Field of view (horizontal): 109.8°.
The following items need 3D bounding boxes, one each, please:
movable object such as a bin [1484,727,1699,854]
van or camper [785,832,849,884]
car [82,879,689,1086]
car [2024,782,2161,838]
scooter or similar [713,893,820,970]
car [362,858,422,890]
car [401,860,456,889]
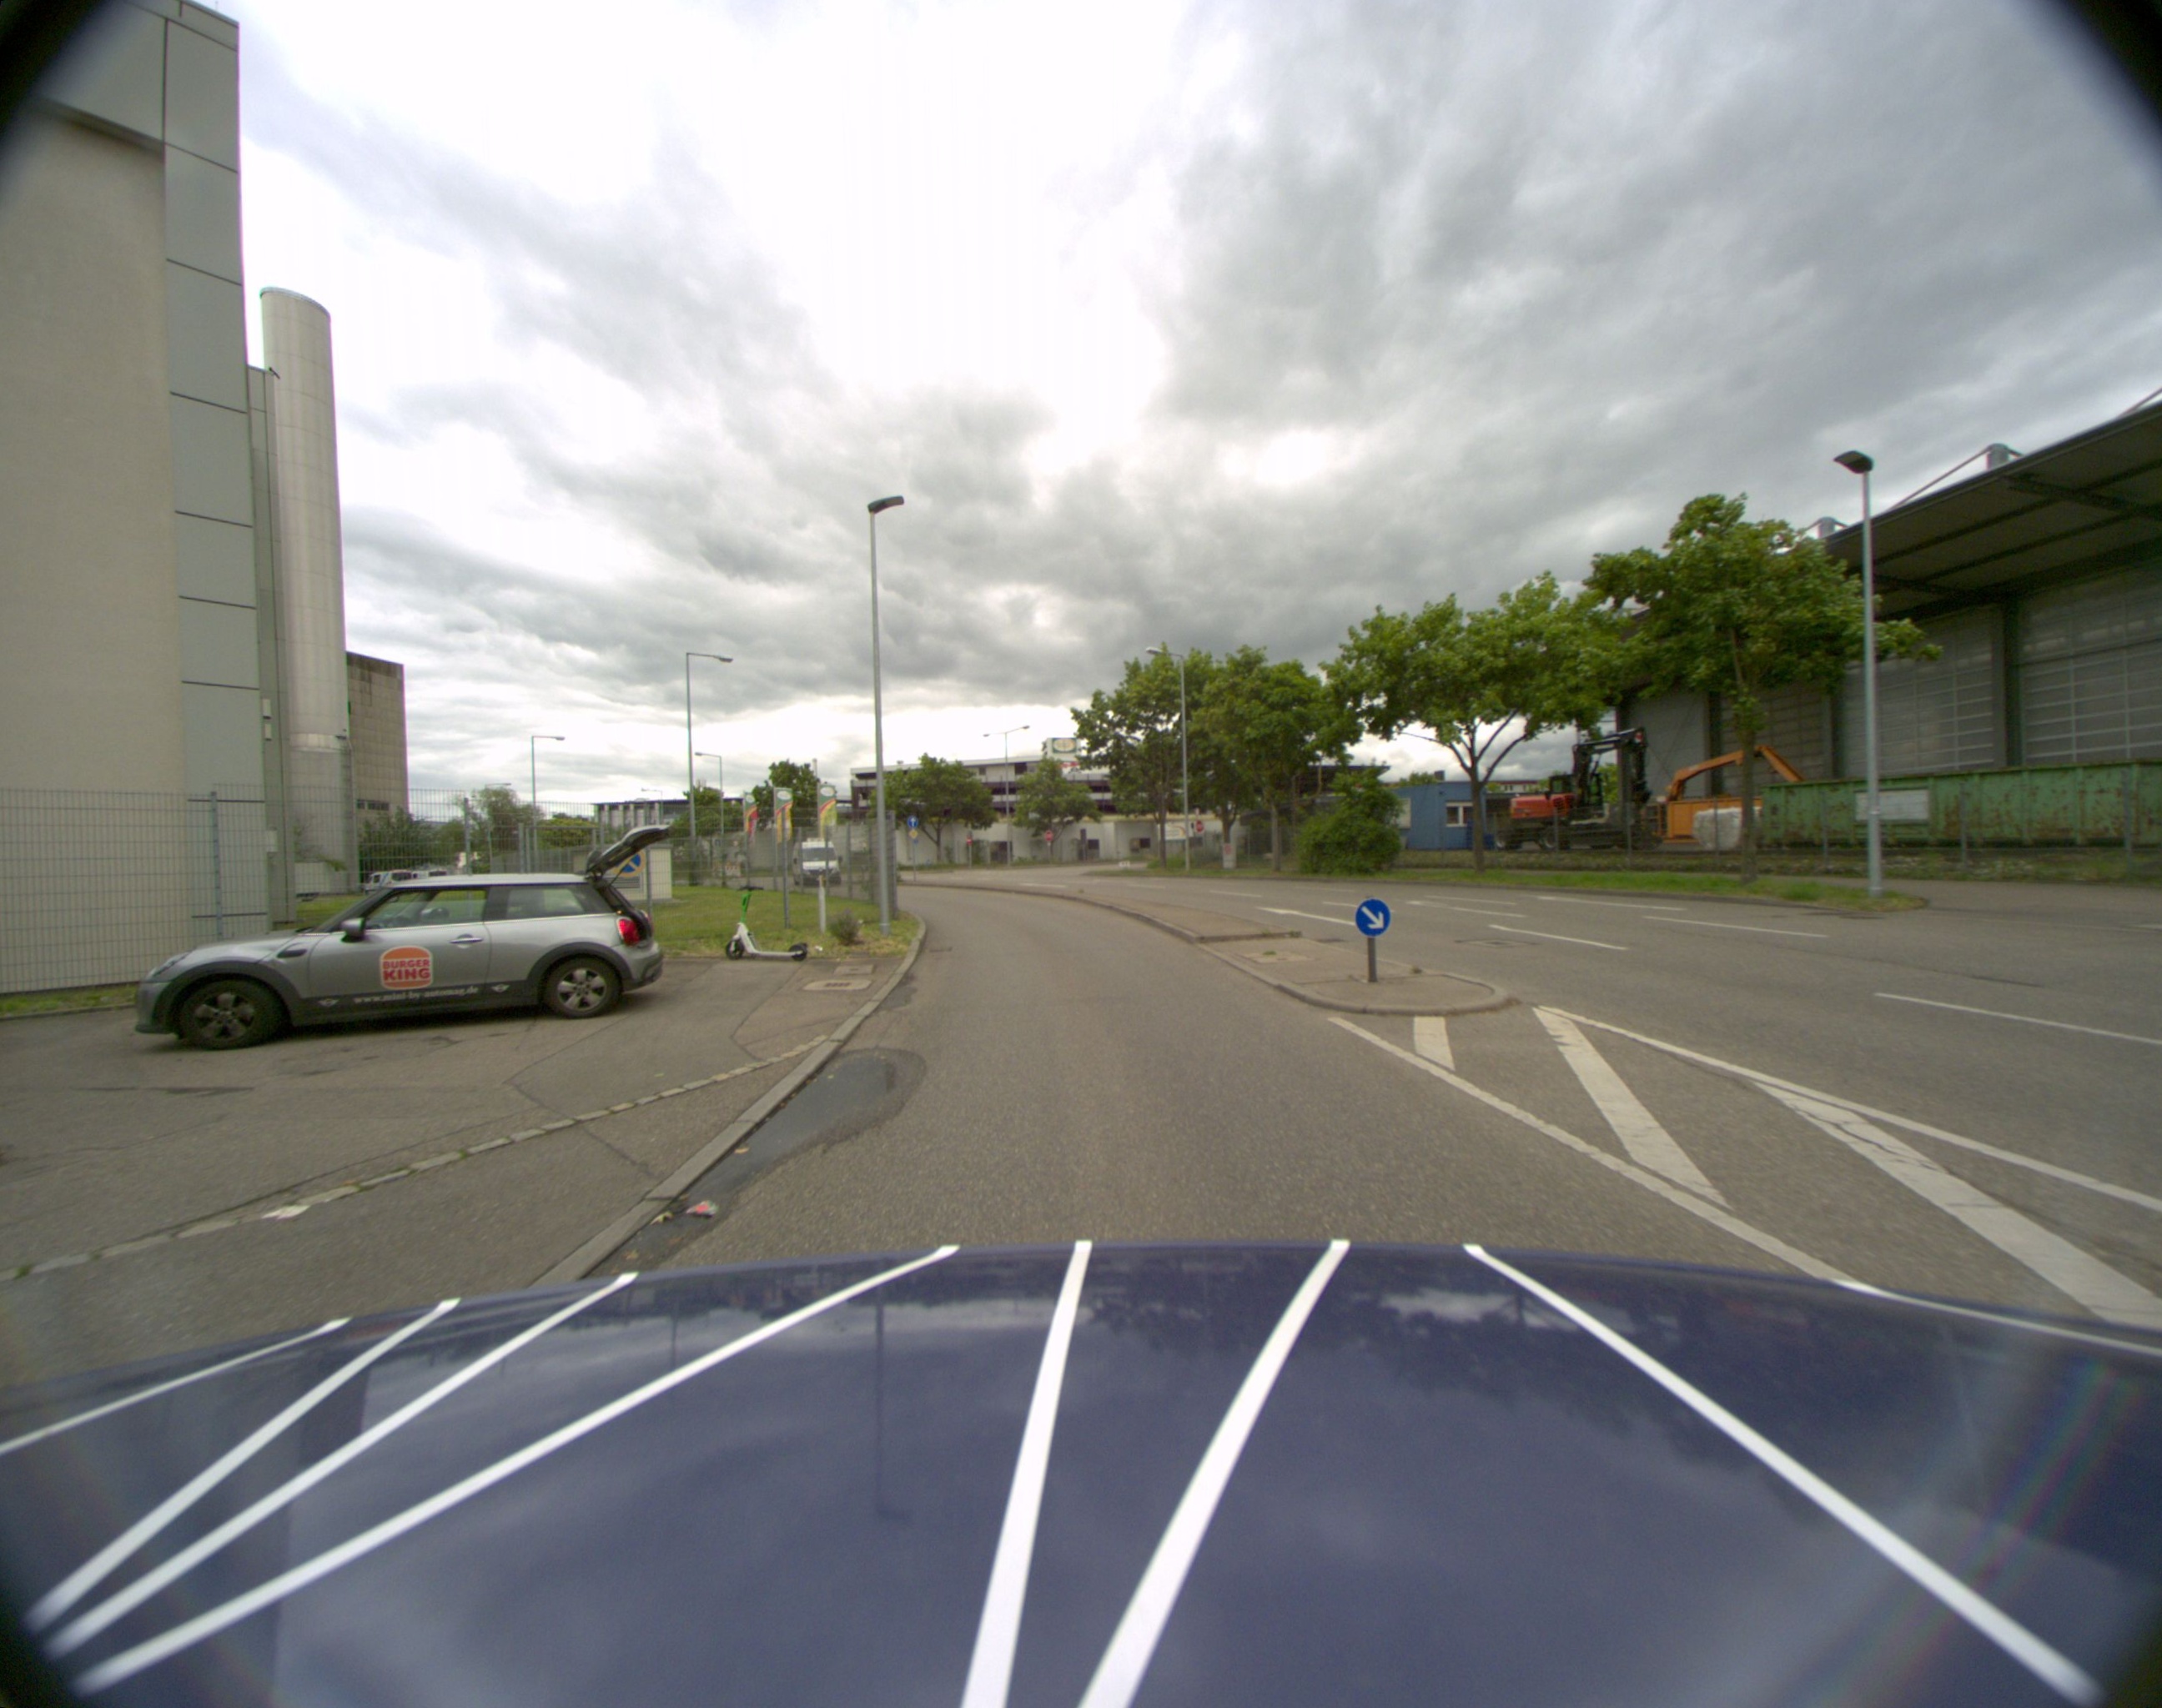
[{"bbox_3d":[18.644,-2.121,28.371,2.735,4.067,6.546,-2,0,-12],"label":"movable object such as a bin"},{"bbox_3d":[-14.355,0.217,41.095,2.276,2.542,6.095,-3,1,-28],"label":"van or camper"},{"bbox_3d":[-6.235,1.052,7.516,4.024,1.423,1.783,-2,0,-23],"label":"car"},{"bbox_3d":[27.765,-1.147,19.617,1.737,1.366,3.998,-2,0,-5],"label":"car"},{"bbox_3d":[-4.797,1.171,11.617,1.418,1.127,0.480,0,1,3],"label":"scooter or similar"},{"bbox_3d":[-68.185,1.975,75.198,5.442,2.746,2.431,-5,0,26],"label":"car"},{"bbox_3d":[-67.534,2.157,78.616,5.179,2.532,2.242,-5,0,26],"label":"car"}]
